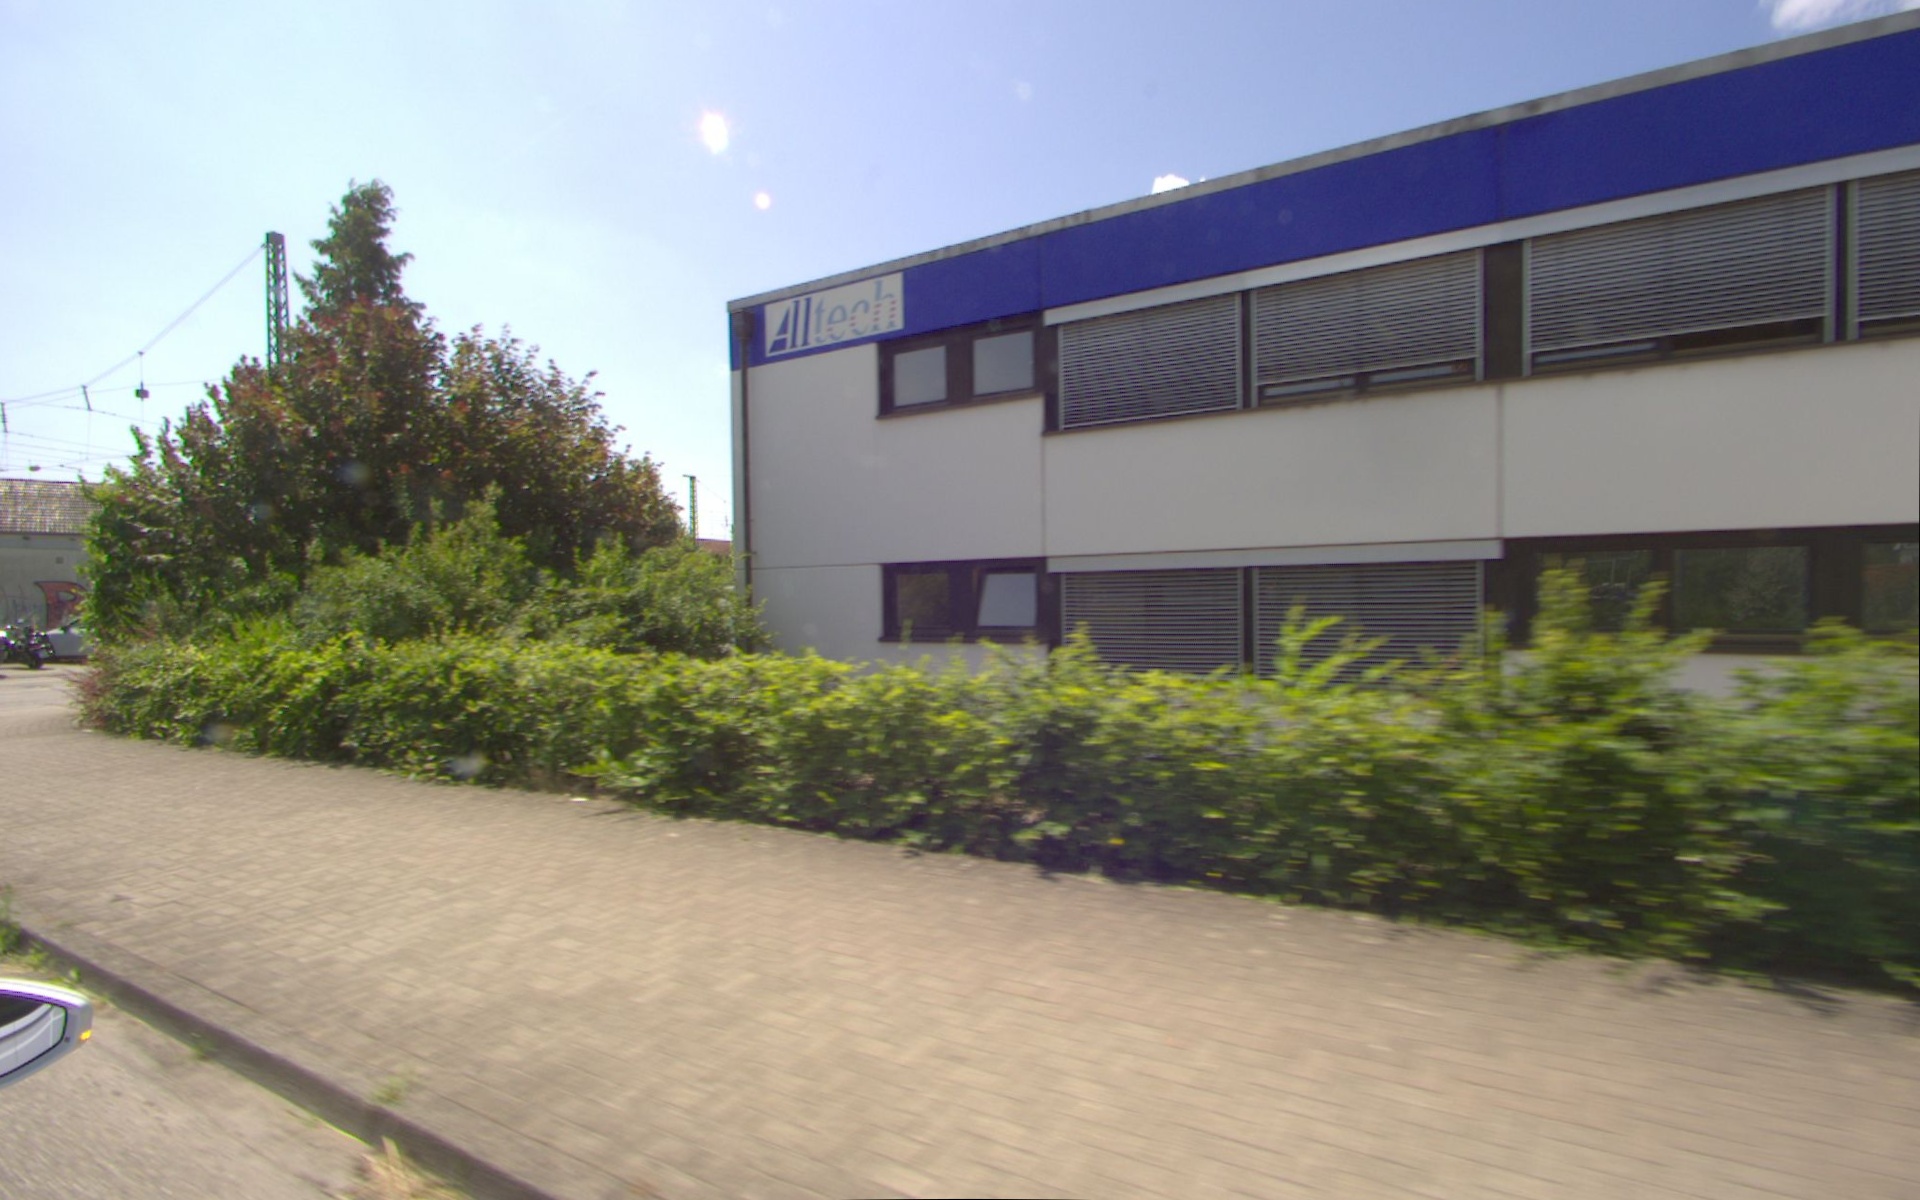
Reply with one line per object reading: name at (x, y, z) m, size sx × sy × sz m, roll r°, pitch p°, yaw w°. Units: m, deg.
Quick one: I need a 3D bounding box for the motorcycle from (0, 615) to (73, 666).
motorcycle at (-24.169, 1.027, 25.946) m, size 1.959 × 1.245 × 0.898 m, roll 1°, pitch 1°, yaw 17°

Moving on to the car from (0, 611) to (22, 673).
car at (-24.568, 0.882, 23.529) m, size 3.924 × 1.404 × 1.757 m, roll 3°, pitch 0°, yaw 13°

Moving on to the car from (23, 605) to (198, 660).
car at (-24.039, 0.912, 28.370) m, size 4.037 × 1.395 × 1.707 m, roll 1°, pitch -1°, yaw 14°
